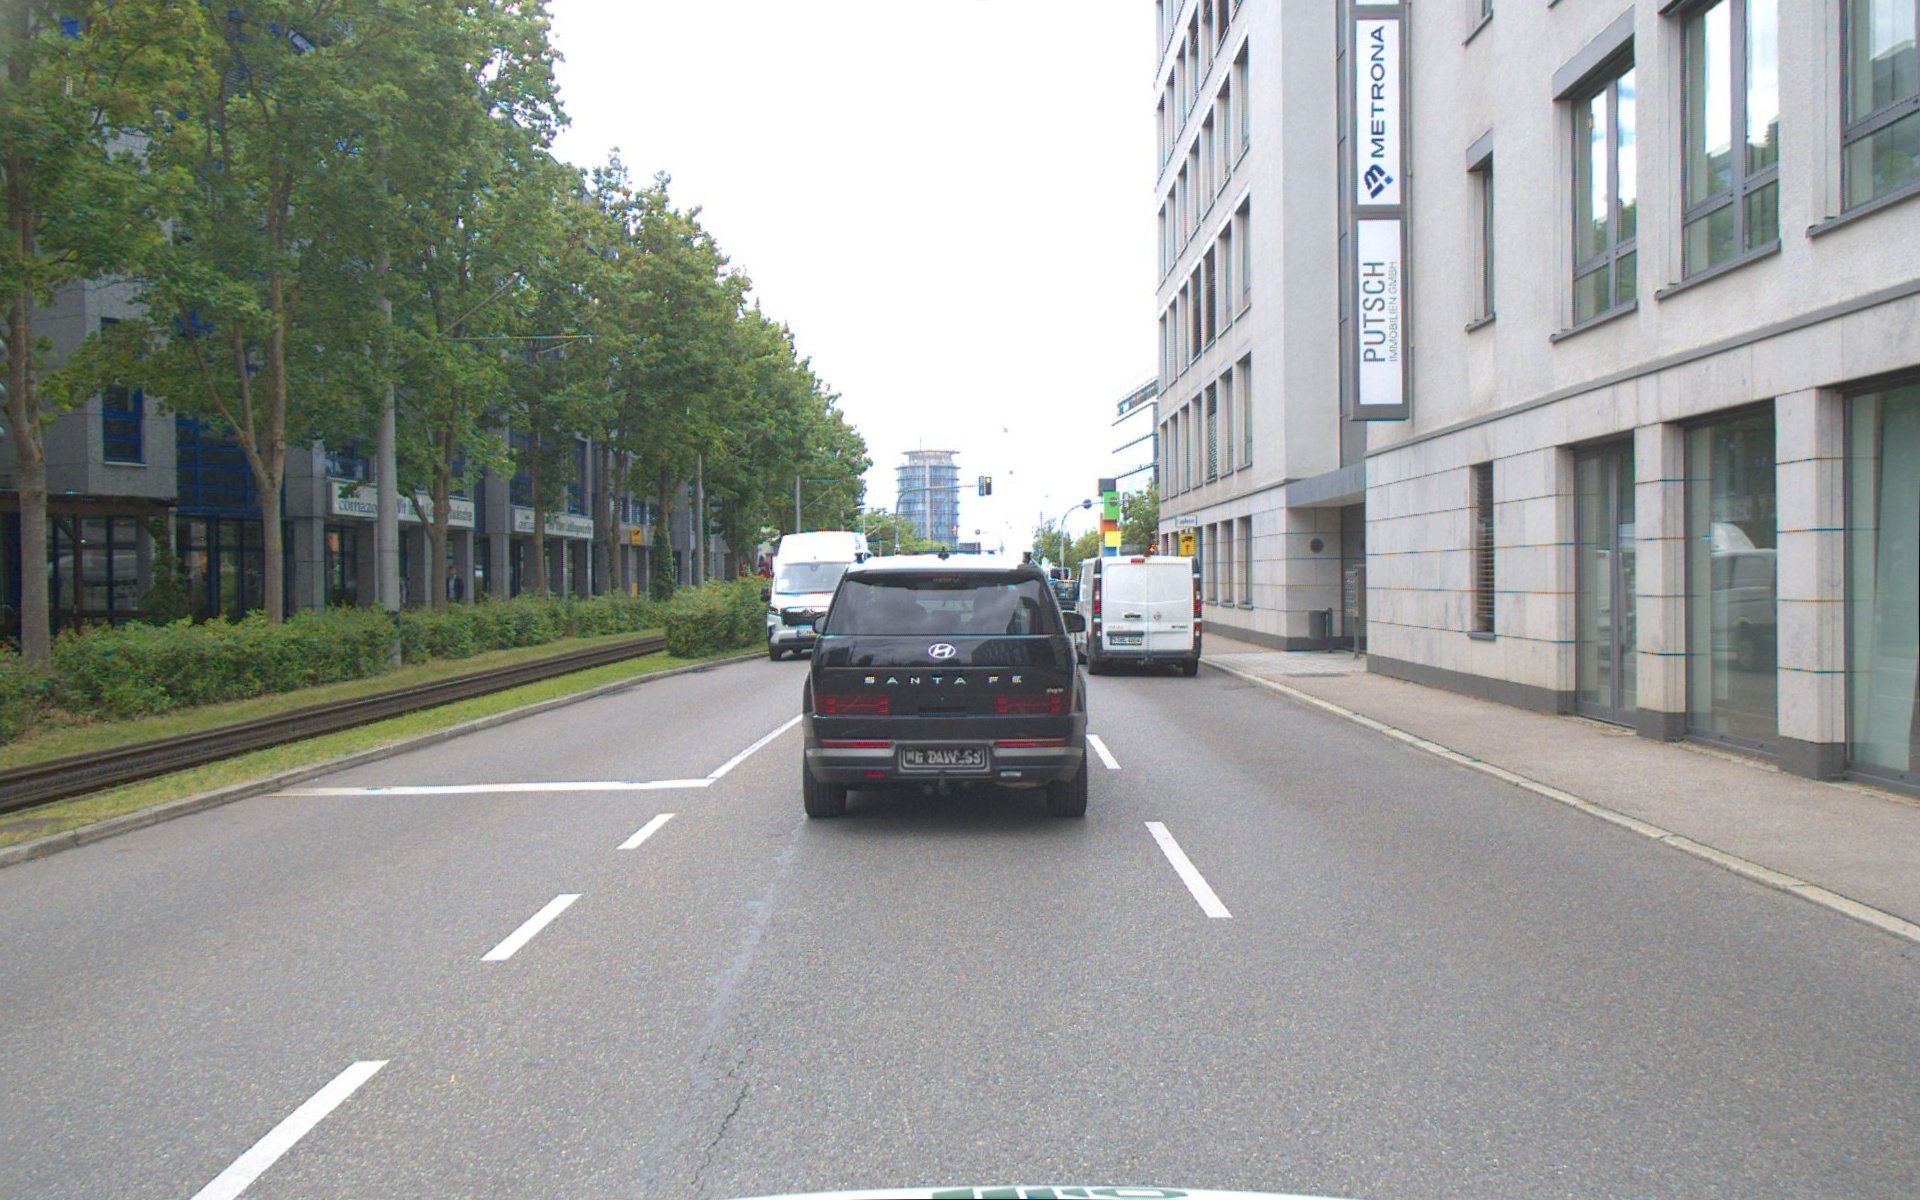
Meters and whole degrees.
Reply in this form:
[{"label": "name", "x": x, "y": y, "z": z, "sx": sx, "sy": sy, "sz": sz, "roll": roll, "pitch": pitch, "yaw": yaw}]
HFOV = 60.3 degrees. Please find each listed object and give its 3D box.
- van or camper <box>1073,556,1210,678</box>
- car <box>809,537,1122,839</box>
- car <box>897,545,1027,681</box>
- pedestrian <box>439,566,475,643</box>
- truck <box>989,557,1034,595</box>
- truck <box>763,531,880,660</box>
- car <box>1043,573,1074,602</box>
[{"label": "van or camper", "x": 3.058, "y": 0.231, "z": 28.678, "sx": 1.952, "sy": 1.949, "sz": 4.332, "roll": 1, "pitch": 1, "yaw": 1}, {"label": "car", "x": -0.127, "y": 0.493, "z": 12.064, "sx": 1.871, "sy": 1.780, "sz": 4.393, "roll": 0, "pitch": 1, "yaw": -5}, {"label": "car", "x": -0.047, "y": 0.152, "z": 27.055, "sx": 1.893, "sy": 2.029, "sz": 4.533, "roll": 0, "pitch": 1, "yaw": -3}, {"label": "pedestrian", "x": -12.913, "y": 0.108, "z": 42.450, "sx": 0.661, "sy": 1.942, "sz": 0.622, "roll": -2, "pitch": 0, "yaw": 1}, {"label": "truck", "x": 3.960, "y": -1.851, "z": 128.606, "sx": 2.288, "sy": 2.795, "sz": 6.474, "roll": -1, "pitch": 1, "yaw": -9}, {"label": "truck", "x": -3.031, "y": -0.149, "z": 37.322, "sx": 2.121, "sy": 2.661, "sz": 5.796, "roll": -1, "pitch": 1, "yaw": 0}, {"label": "car", "x": 5.659, "y": -0.729, "z": 94.938, "sx": 1.722, "sy": 1.637, "sz": 4.190, "roll": 0, "pitch": 1, "yaw": 4}]
